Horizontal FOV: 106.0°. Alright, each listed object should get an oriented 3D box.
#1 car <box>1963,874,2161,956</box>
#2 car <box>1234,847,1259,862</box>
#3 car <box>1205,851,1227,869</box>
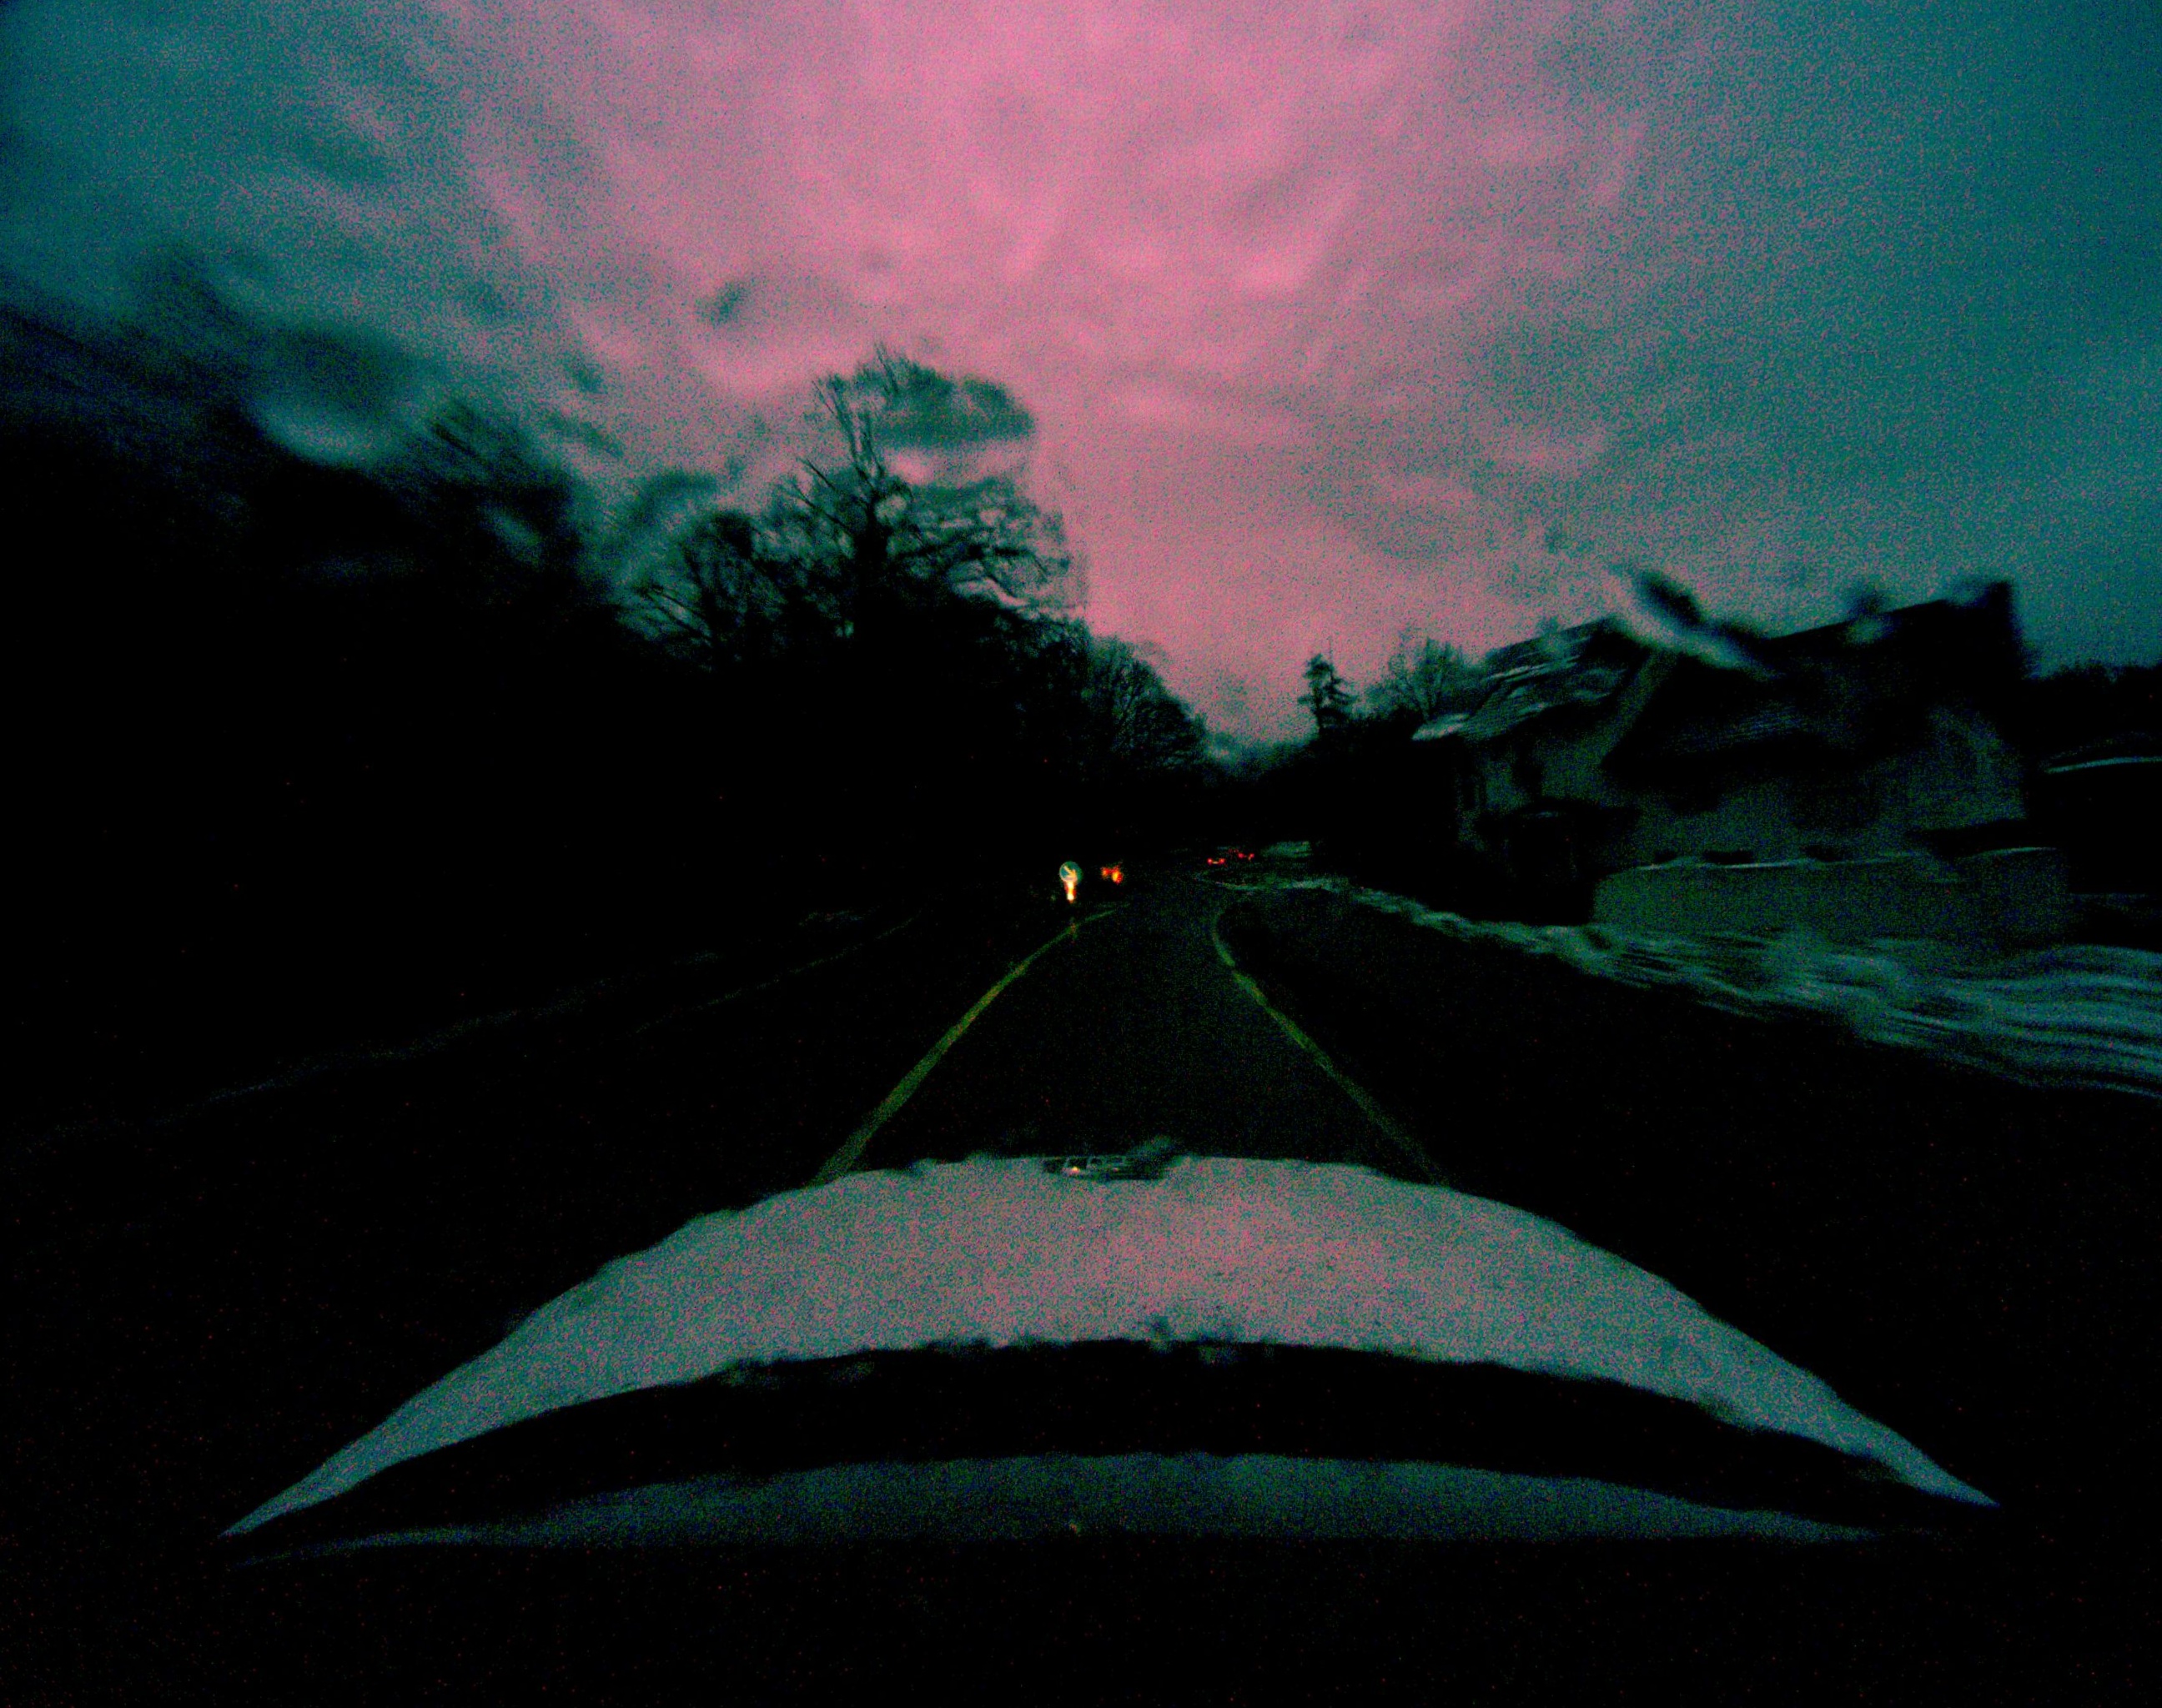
[{"bbox_3d":[24.457,1.375,19.681,1.936,1.591,4.347,-1,0,7],"label":"car"},{"bbox_3d":[19.602,0.040,96.260,1.915,1.676,4.023,-1,0,25],"label":"car"},{"bbox_3d":[14.058,0.602,84.546,1.919,1.781,4.015,-1,0,14],"label":"car"}]
